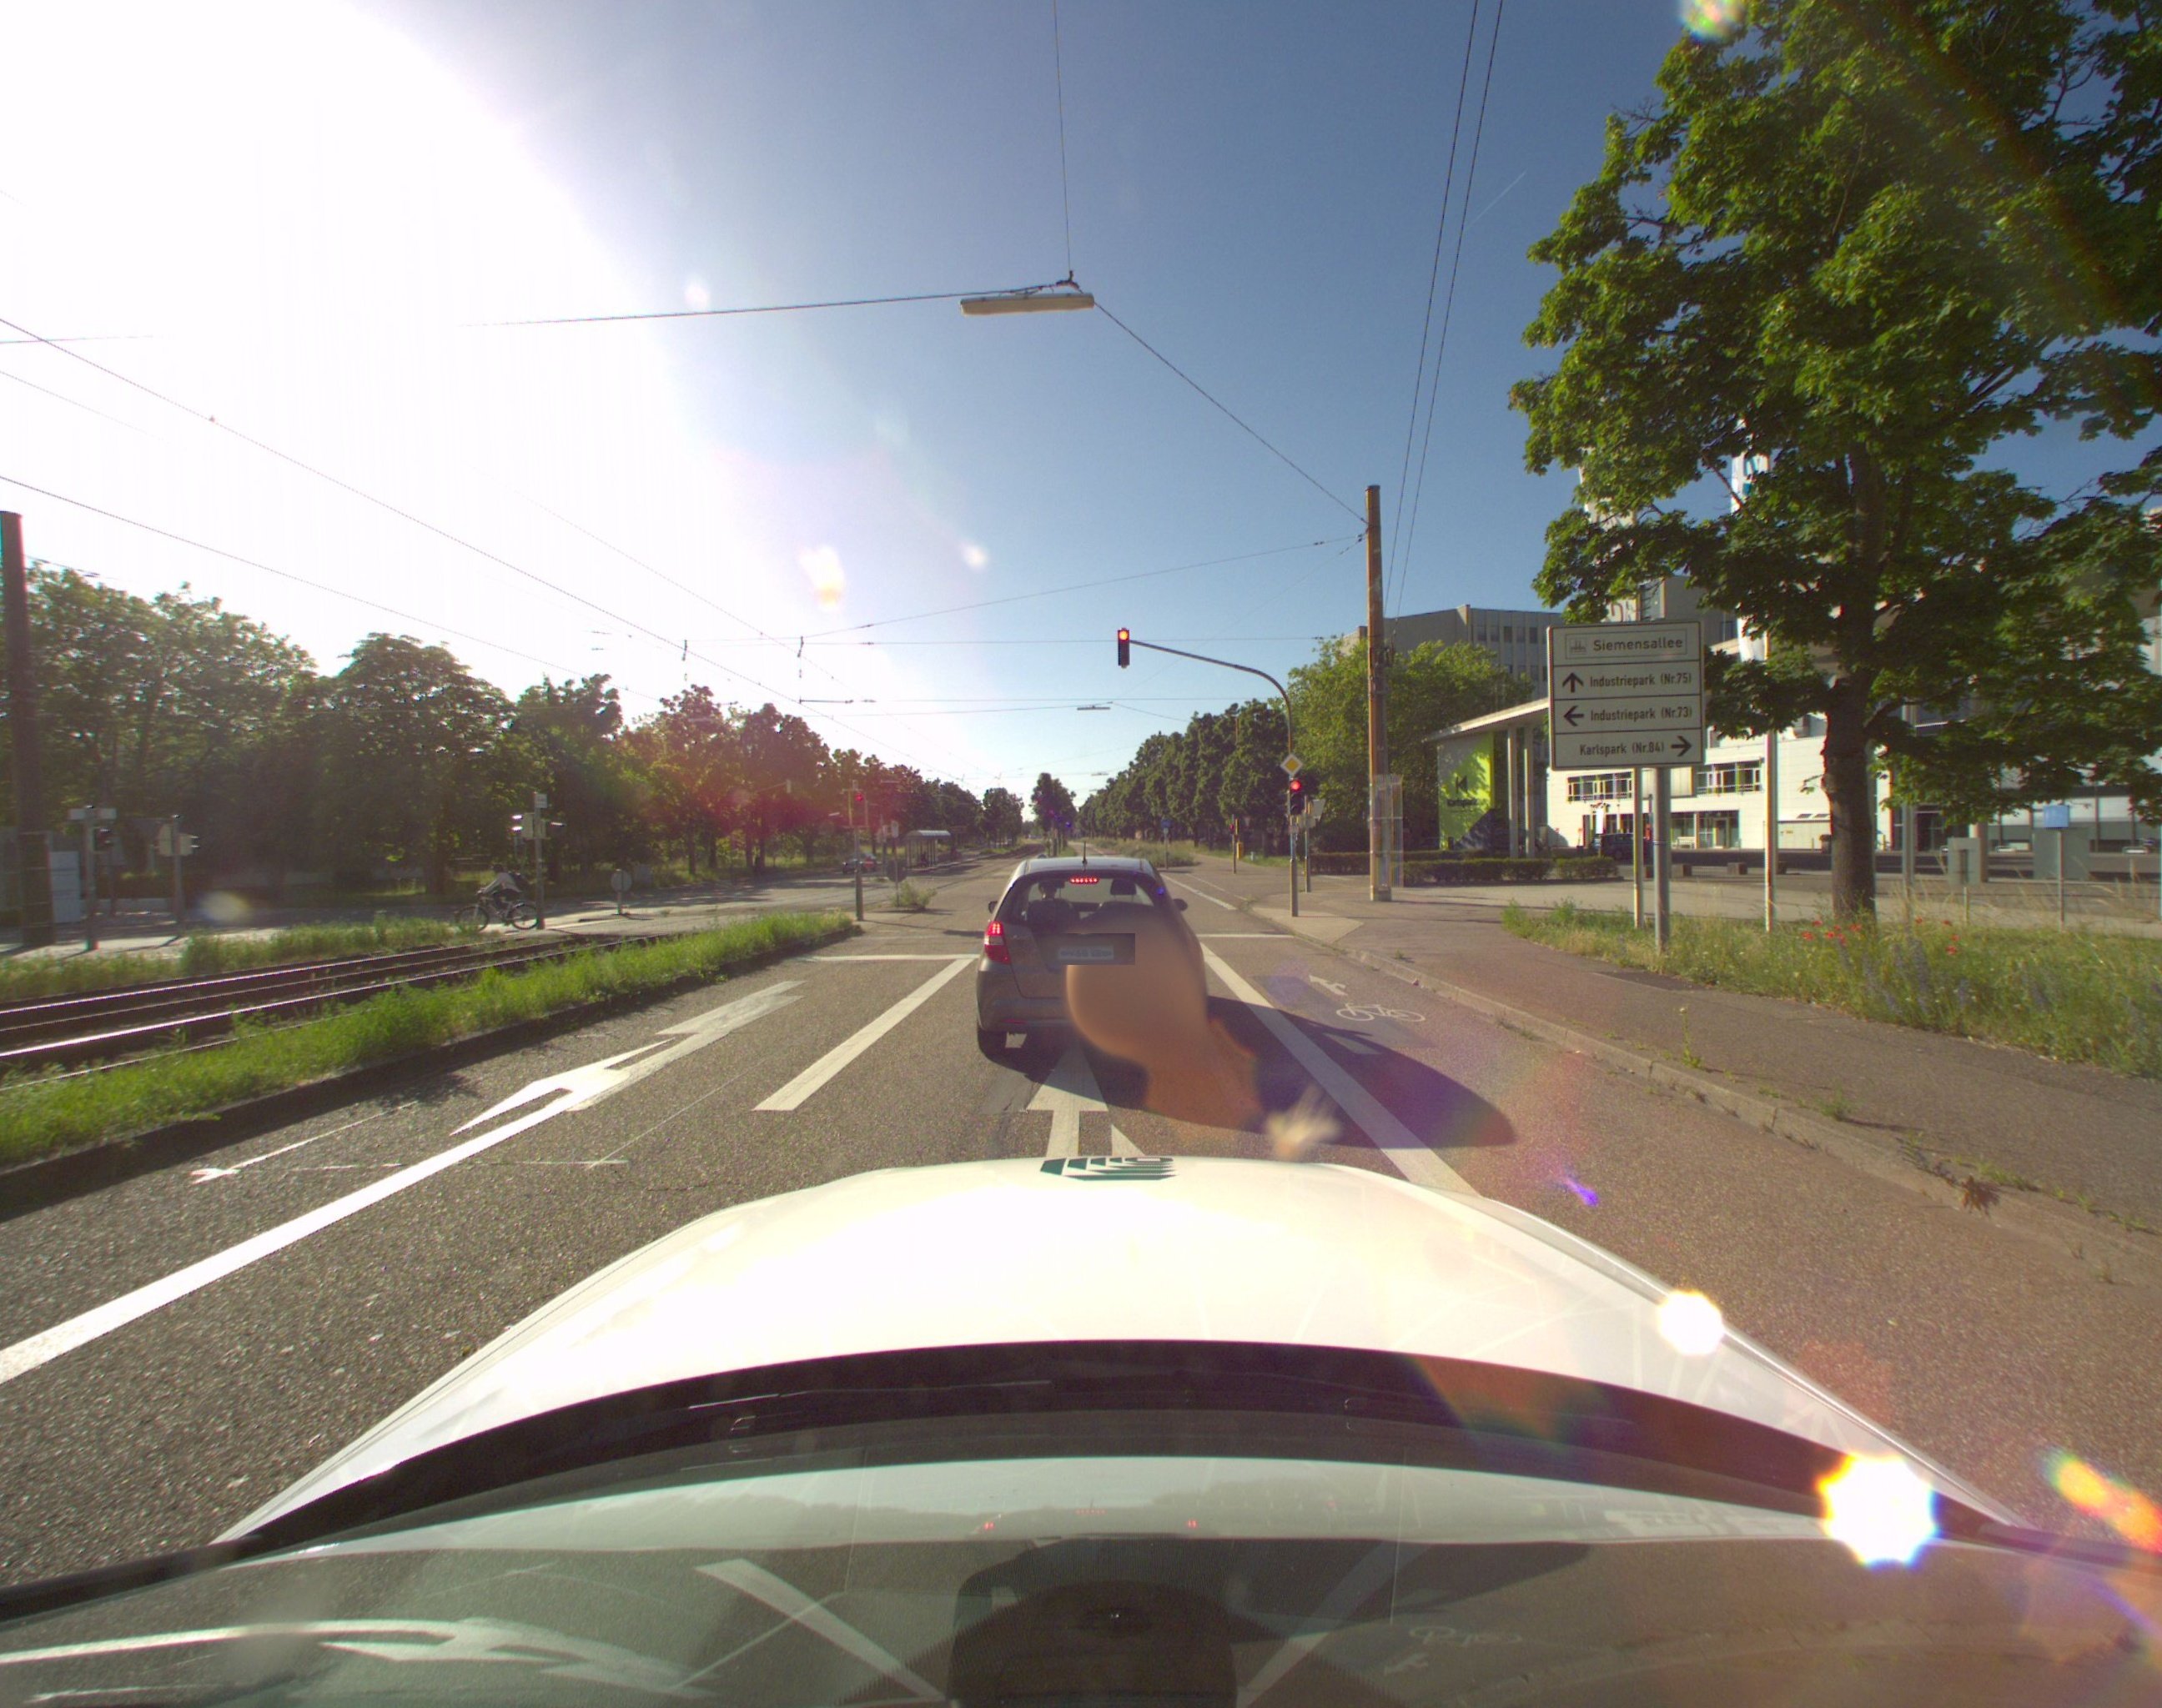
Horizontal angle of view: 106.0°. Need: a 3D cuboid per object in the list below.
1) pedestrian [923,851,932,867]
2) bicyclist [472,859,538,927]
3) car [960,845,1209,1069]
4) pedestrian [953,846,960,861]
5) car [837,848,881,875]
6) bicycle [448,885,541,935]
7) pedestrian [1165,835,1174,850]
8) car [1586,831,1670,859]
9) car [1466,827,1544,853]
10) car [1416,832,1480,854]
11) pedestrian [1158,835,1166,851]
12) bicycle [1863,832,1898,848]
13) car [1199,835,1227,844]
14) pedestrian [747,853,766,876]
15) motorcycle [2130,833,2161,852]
[{"bbox_3d":[-12.453,0.389,66.008,0.562,1.257,0.581,-4,0,1],"label":"pedestrian"},{"bbox_3d":[-14.163,0.941,20.073,1.240,1.593,0.797,-1,0,-31],"label":"bicyclist"},{"bbox_3d":[0.083,0.713,7.475,1.694,1.524,3.711,-1,0,2],"label":"car"},{"bbox_3d":[-12.277,-0.038,80.577,0.542,1.447,0.559,-2,0,1],"label":"pedestrian"},{"bbox_3d":[-17.754,0.564,65.355,2.087,1.810,4.792,-4,1,0],"label":"car"},{"bbox_3d":[-14.345,1.350,19.974,1.787,1.102,0.692,-1,0,-31],"label":"bicycle"},{"bbox_3d":[10.746,-1.386,98.856,0.880,1.884,0.875,-2,1,-2],"label":"pedestrian"},{"bbox_3d":[33.315,-0.566,49.650,3.984,1.578,1.949,-1,0,-8],"label":"car"},{"bbox_3d":[31.100,-1.046,59.779,4.888,1.757,2.082,-2,1,-14],"label":"car"},{"bbox_3d":[30.037,-0.921,66.671,4.448,1.686,1.892,-2,1,-4],"label":"car"},{"bbox_3d":[9.825,-1.377,98.704,0.880,1.884,0.875,-2,1,-2],"label":"pedestrian"},{"bbox_3d":[52.264,-0.900,53.255,0.565,1.004,1.614,-2,1,-13],"label":"bicycle"},{"bbox_3d":[23.393,-2.543,144.256,4.623,1.555,1.997,-2,1,-5],"label":"car"},{"bbox_3d":[-24.273,0.788,60.918,0.751,1.734,0.943,-1,1,30],"label":"pedestrian"},{"bbox_3d":[54.658,-0.589,41.269,0.652,0.947,1.727,-2,1,-13],"label":"motorcycle"}]
